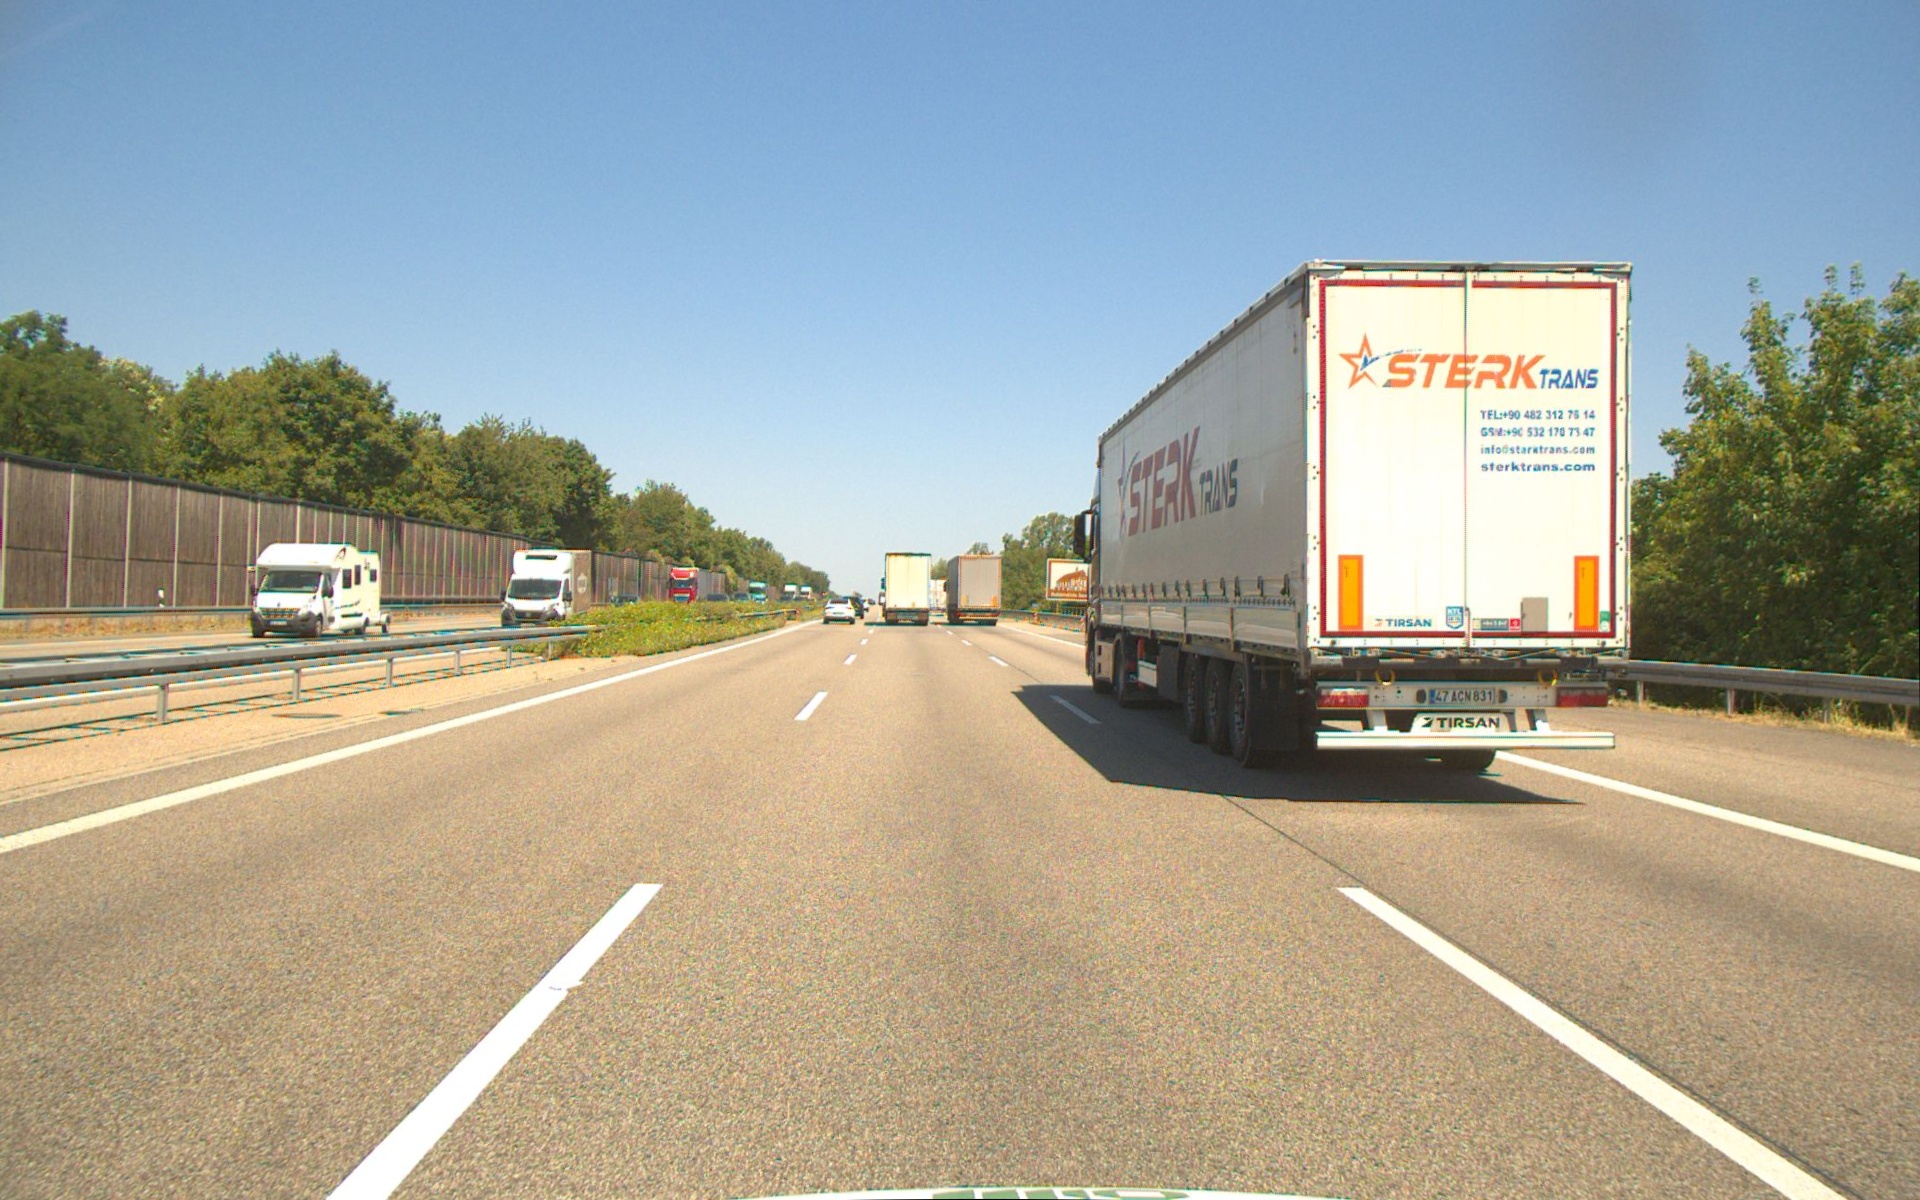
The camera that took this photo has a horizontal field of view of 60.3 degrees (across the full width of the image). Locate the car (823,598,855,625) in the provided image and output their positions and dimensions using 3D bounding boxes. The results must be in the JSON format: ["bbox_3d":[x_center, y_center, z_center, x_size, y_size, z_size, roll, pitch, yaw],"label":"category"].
[{"bbox_3d":[-7.102,0.652,97.016,1.819,1.512,3.997,1,0,-4],"label":"car"}]

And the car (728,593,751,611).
[{"bbox_3d":[-23.540,0.223,176.956,1.954,1.847,5.217,1,0,-3],"label":"car"}]

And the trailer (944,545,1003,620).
[{"bbox_3d":[0.738,-1.003,102.096,2.650,4.289,13.202,2,0,-3],"label":"trailer"}]

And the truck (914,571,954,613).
[{"bbox_3d":[-2.971,-0.930,186.006,3.309,4.378,11.436,4,0,-6],"label":"truck"}]

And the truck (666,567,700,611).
[{"bbox_3d":[-26.519,-1.033,158.370,2.436,4.159,4.677,0,0,0],"label":"truck"}]

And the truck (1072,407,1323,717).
[{"bbox_3d":[3.455,-0.510,25.875,2.653,4.160,6.961,1,0,-2],"label":"truck"}]

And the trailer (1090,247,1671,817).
[{"bbox_3d":[3.668,-0.499,19.255,2.653,4.160,14.145,1,0,-2],"label":"trailer"}]

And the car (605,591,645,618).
[{"bbox_3d":[-20.936,0.258,103.500,1.777,1.627,3.998,0,0,-2],"label":"car"}]

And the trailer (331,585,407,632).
[{"bbox_3d":[-21.078,0.290,59.100,1.692,1.606,3.090,2,0,-3],"label":"trailer"}]

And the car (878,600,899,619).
[{"bbox_3d":[-6.212,0.822,144.653,1.818,1.645,3.998,1,0,-2],"label":"car"}]

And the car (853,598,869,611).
[{"bbox_3d":[-12.227,0.564,203.719,1.819,1.645,3.995,1,0,-6],"label":"car"}]

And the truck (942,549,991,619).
[{"bbox_3d":[0.357,-1.007,108.281,2.638,4.289,7.832,2,0,-4],"label":"truck"}]

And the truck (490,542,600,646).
[{"bbox_3d":[-14.470,-0.201,58.109,2.361,3.411,6.916,1,0,-2],"label":"truck"}]

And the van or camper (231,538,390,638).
[{"bbox_3d":[-20.958,-0.361,53.852,2.507,2.964,7.371,1,0,-3],"label":"van or camper"}]

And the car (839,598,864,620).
[{"bbox_3d":[-8.250,0.662,125.824,1.818,1.645,3.997,1,0,-4],"label":"car"}]

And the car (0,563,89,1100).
[{"bbox_3d":[-3.603,0.664,2.257,1.904,1.533,5.818,0,0,-2],"label":"car"}]

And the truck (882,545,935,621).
[{"bbox_3d":[-3.190,-0.940,98.460,2.653,4.157,13.464,2,0,-3],"label":"truck"}]
